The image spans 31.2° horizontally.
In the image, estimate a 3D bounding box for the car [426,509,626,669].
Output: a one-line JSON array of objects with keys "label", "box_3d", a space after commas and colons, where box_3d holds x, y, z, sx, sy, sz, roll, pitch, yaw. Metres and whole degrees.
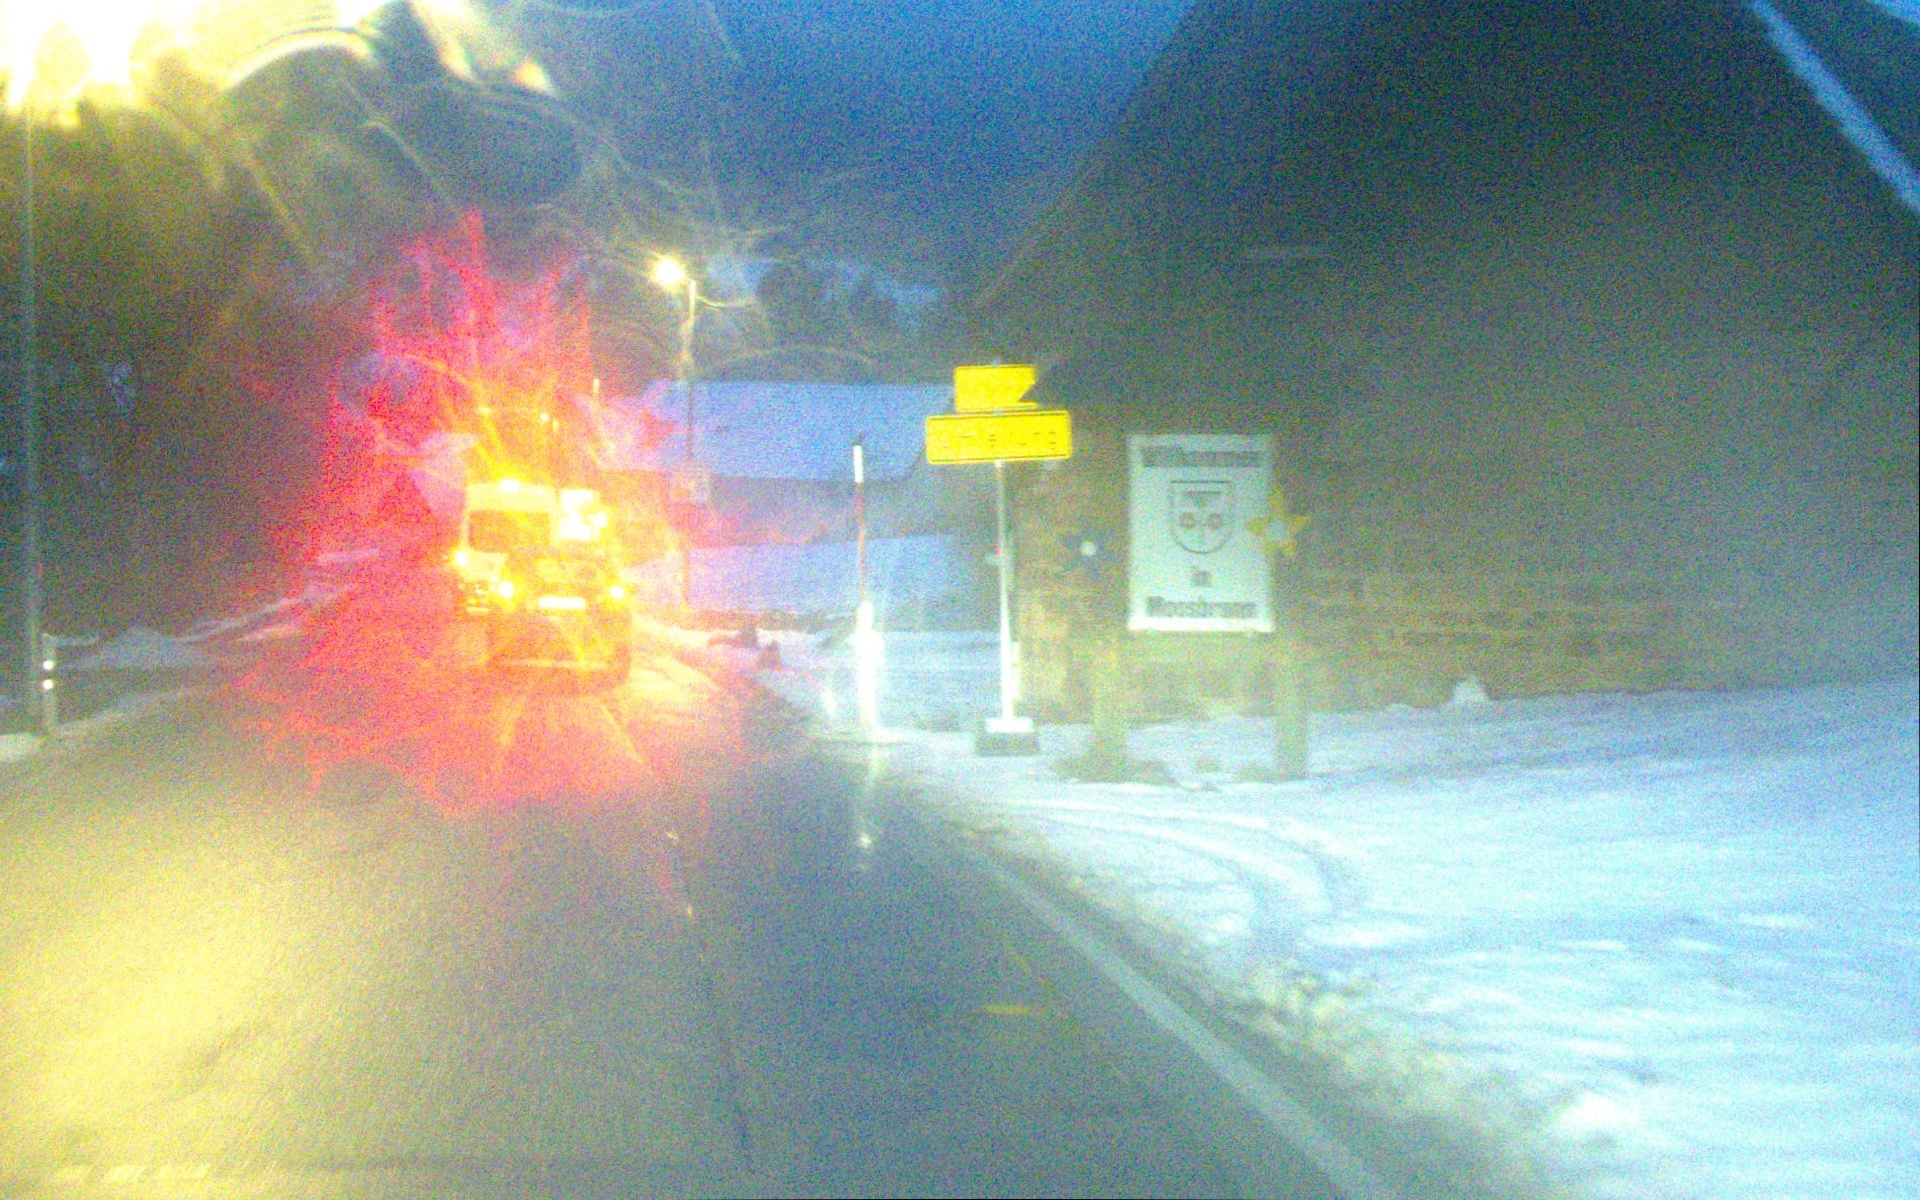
[{"label": "car", "box_3d": [-5.322, -0.182, 42.195, 2.273, 1.834, 5.008, 0, 1, -7]}]

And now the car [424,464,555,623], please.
[{"label": "car", "box_3d": [-9.437, -1.077, 68.556, 2.434, 3.008, 5.326, -1, -1, -9]}]
